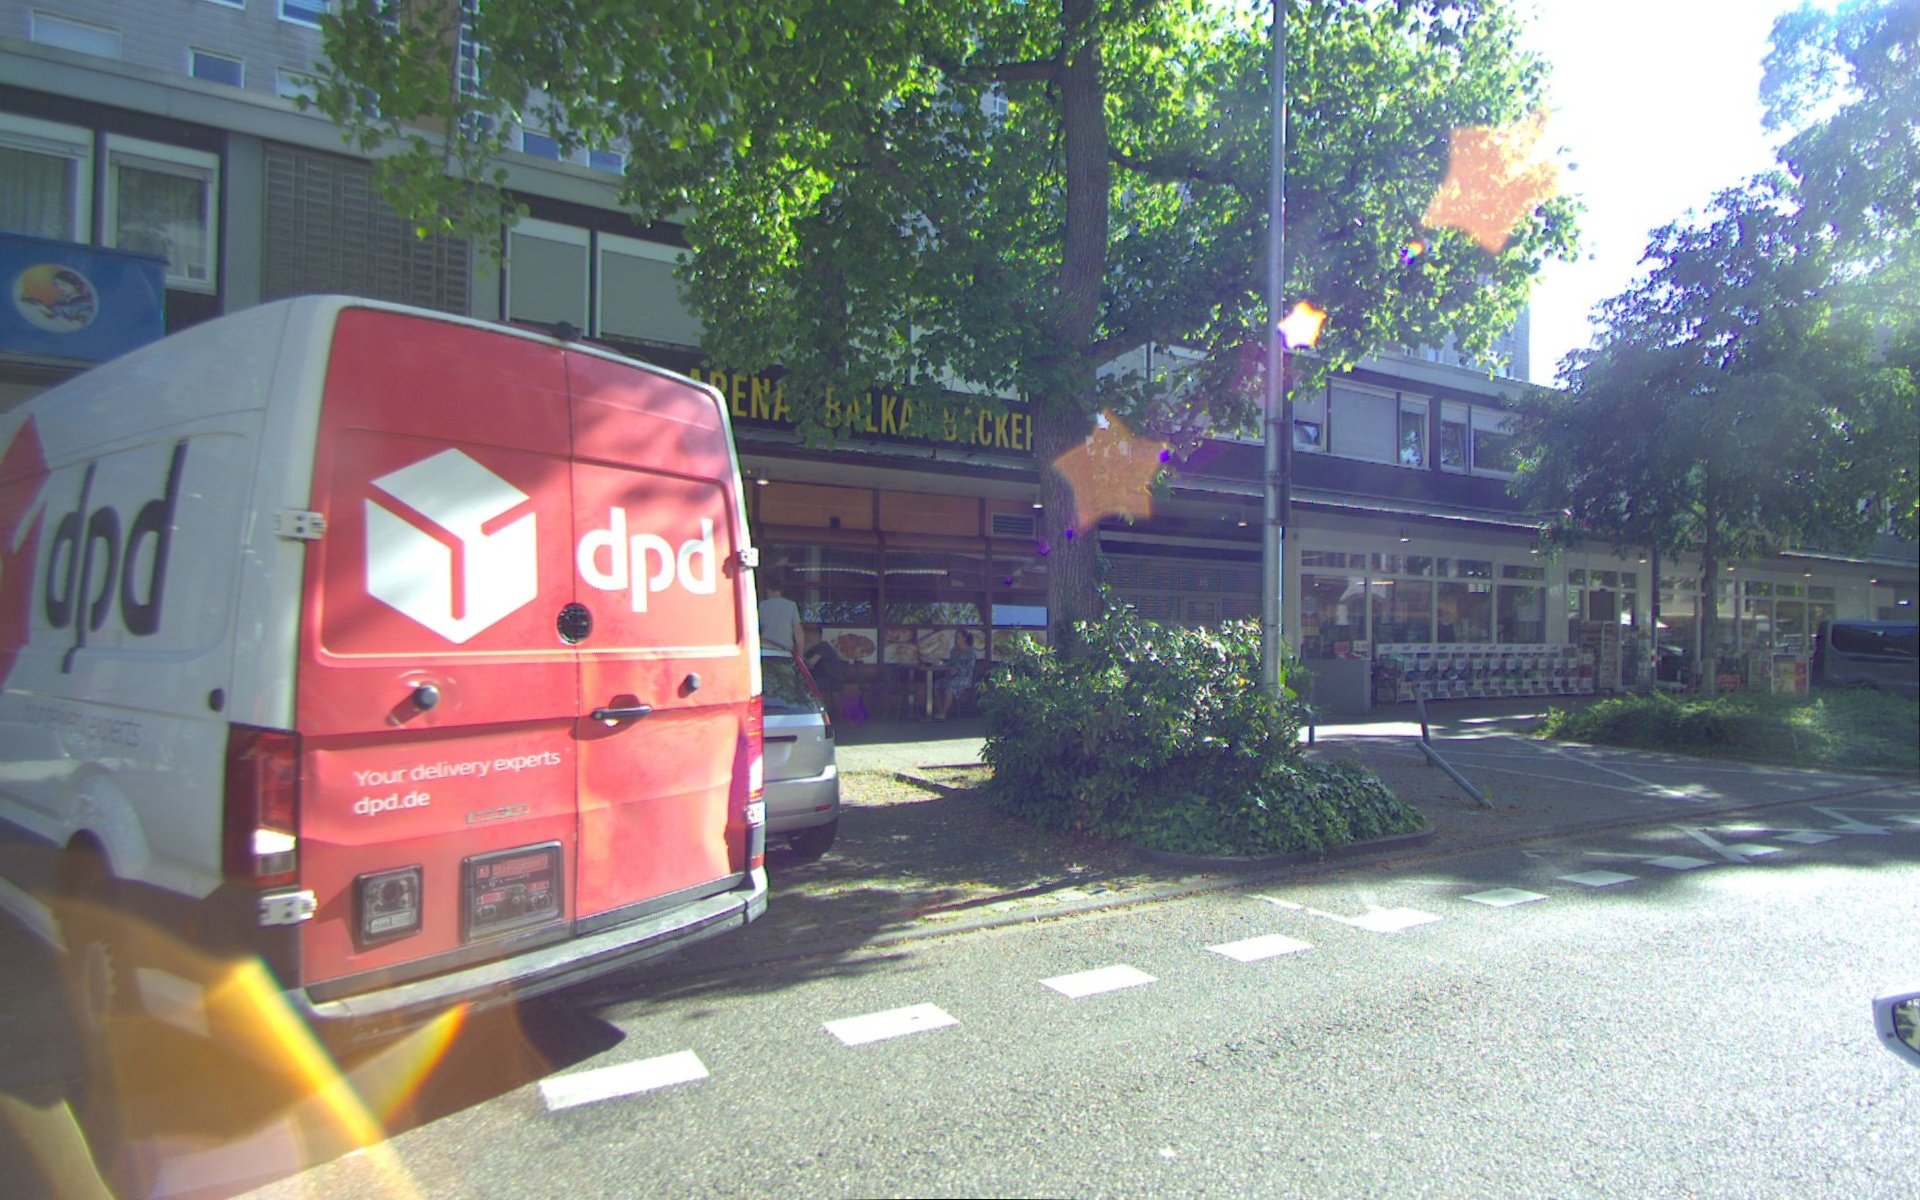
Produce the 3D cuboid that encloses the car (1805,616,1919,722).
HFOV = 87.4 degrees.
[{"bbox_3d":[19.580,1.358,18.904,1.991,2.000,5.269,2,-1,-29],"label":"car"}]

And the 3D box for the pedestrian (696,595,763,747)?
[{"bbox_3d":[-2.723,0.819,11.850,0.580,1.734,0.595,2,-2,-33],"label":"pedestrian"}]

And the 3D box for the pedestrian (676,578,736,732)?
[{"bbox_3d":[-3.299,0.701,13.034,0.573,1.929,0.591,2,-1,-31],"label":"pedestrian"}]

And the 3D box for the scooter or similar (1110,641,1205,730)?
[{"bbox_3d":[2.983,1.269,15.197,1.294,1.239,0.457,2,-1,28],"label":"scooter or similar"}]

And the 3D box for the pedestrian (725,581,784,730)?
[{"bbox_3d":[-2.748,0.732,13.431,0.572,1.929,0.591,2,-1,-31],"label":"pedestrian"}]

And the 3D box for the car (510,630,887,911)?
[{"bbox_3d":[-2.120,0.975,7.350,1.810,1.439,3.578,2,-1,-29],"label":"car"}]

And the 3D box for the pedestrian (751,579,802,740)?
[{"bbox_3d":[-2.281,0.733,12.542,0.576,1.960,0.599,1,-1,-8],"label":"pedestrian"}]

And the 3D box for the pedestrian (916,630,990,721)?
[{"bbox_3d":[-0.104,1.087,14.675,0.889,1.280,0.604,2,-1,-33],"label":"pedestrian"}]

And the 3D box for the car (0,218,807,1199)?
[{"bbox_3d":[-3.872,0.355,5.159,6.493,2.506,1.994,-1,-2,35],"label":"car"}]

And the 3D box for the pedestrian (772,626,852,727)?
[{"bbox_3d":[-2.058,1.051,14.014,0.943,1.359,0.560,2,-1,-32],"label":"pedestrian"}]

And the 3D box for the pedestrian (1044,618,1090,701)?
[{"bbox_3d":[1.659,0.920,15.537,0.630,1.256,0.326,2,-2,-33],"label":"pedestrian"}]
